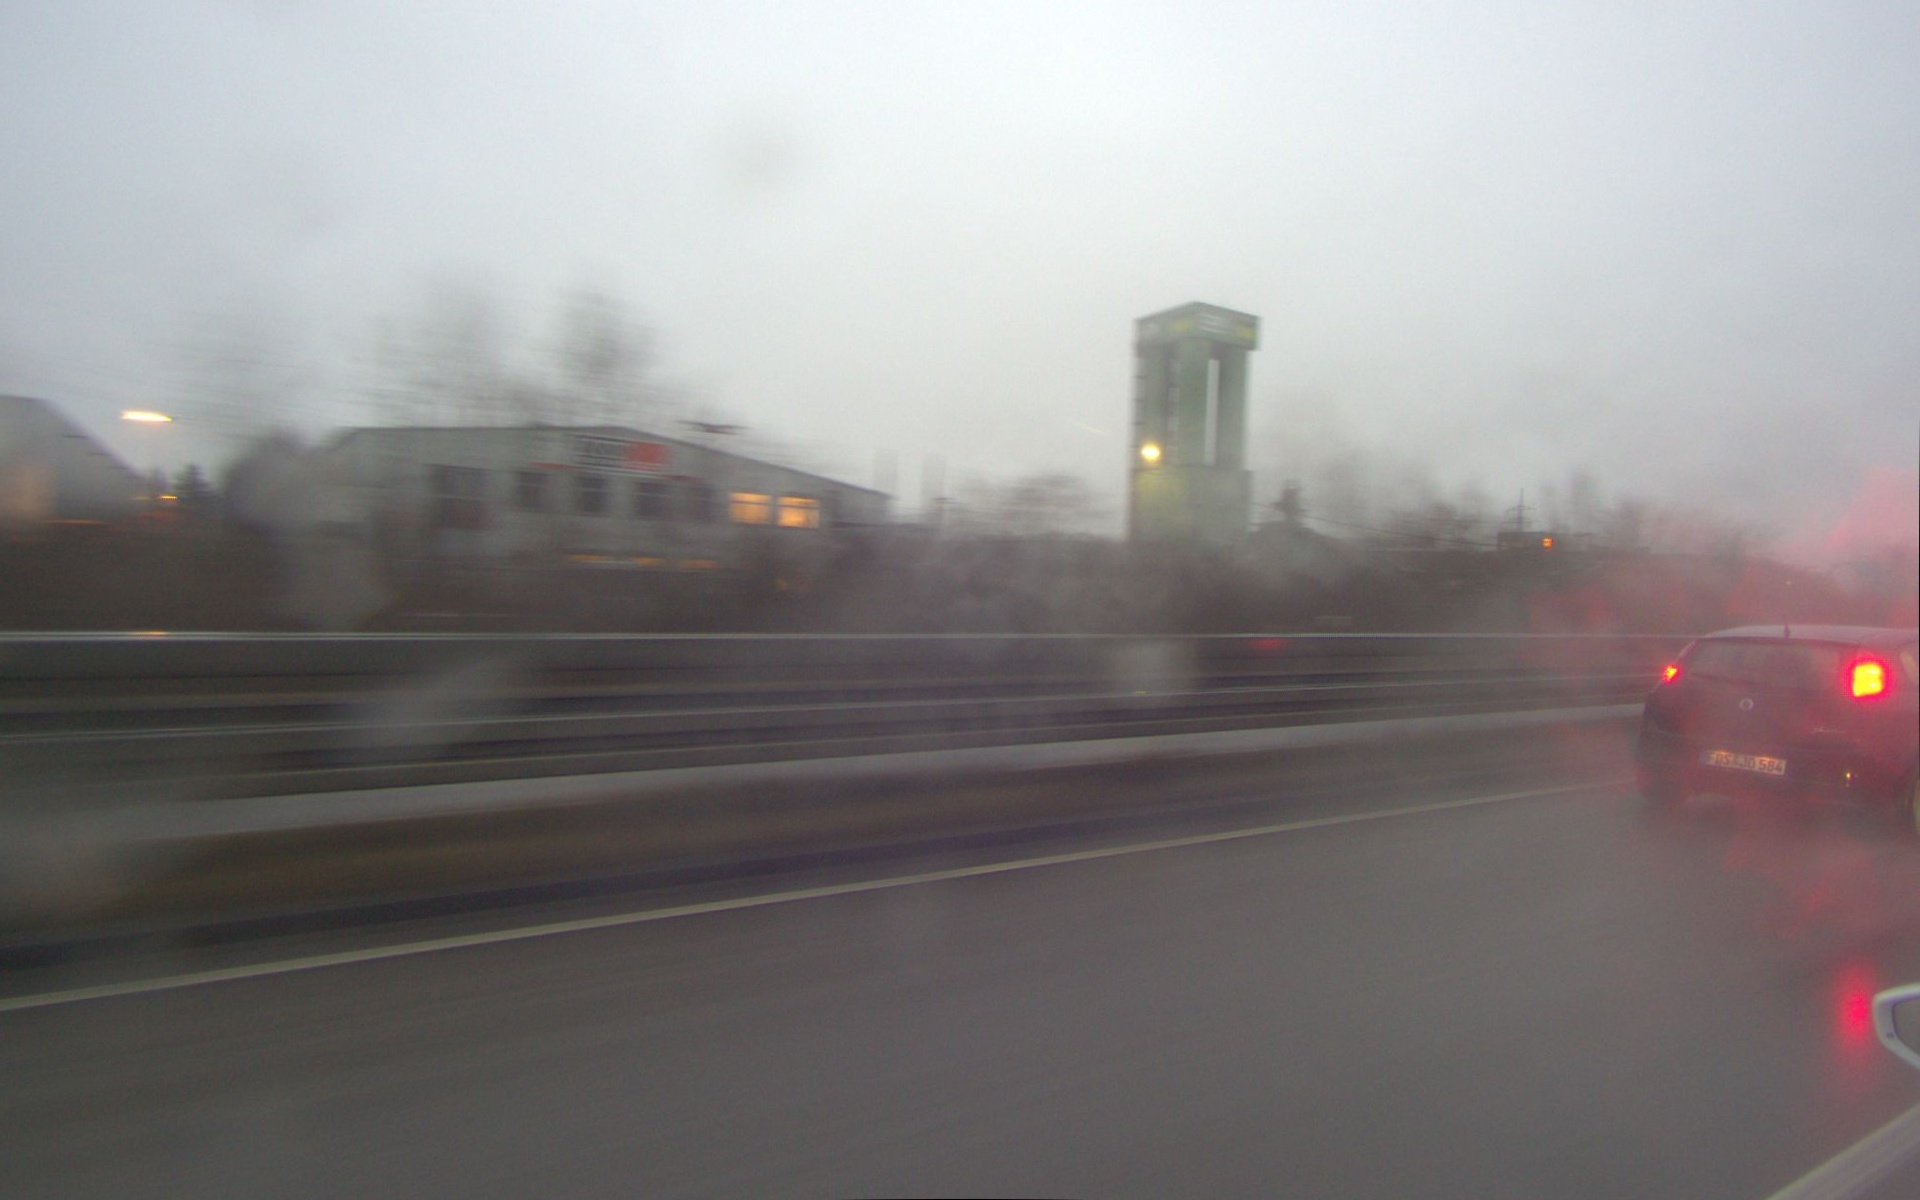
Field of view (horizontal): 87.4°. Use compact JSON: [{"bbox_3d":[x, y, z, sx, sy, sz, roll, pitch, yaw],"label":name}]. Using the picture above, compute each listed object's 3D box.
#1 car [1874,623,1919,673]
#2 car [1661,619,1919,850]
[{"bbox_3d":[33.750,1.660,34.975,4.477,1.648,1.753,1,0,-33],"label":"car"},{"bbox_3d":[7.531,0.938,8.064,3.954,1.410,1.617,2,1,-31],"label":"car"}]
